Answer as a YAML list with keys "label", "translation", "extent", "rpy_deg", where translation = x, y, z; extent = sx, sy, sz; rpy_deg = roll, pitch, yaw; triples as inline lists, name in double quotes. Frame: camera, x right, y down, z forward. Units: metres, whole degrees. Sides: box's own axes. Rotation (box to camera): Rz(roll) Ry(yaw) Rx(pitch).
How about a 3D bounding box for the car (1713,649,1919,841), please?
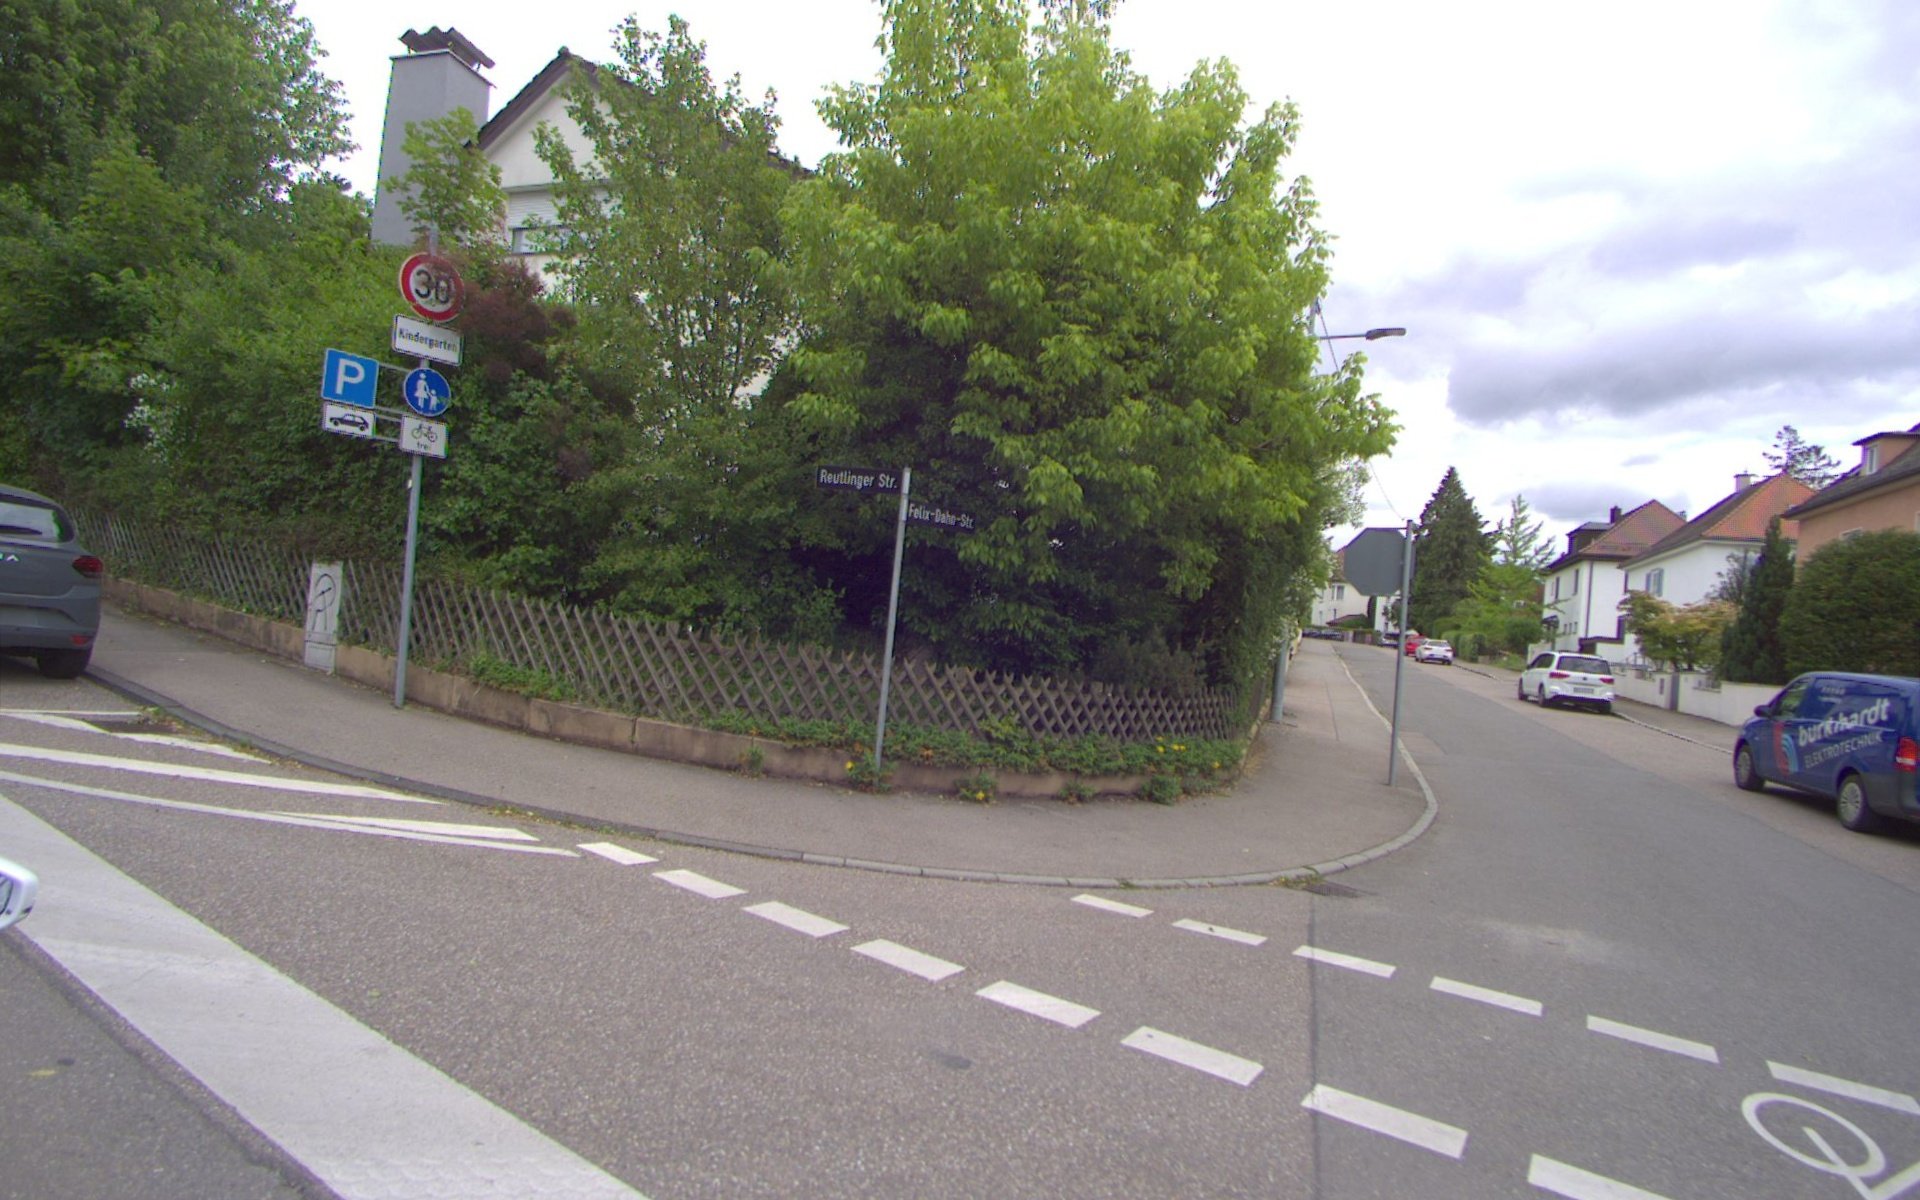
- label: "car"
  translation: [12.023, 1.773, 13.097]
  extent: [1.851, 1.982, 4.733]
  rpy_deg: [5, 0, 16]

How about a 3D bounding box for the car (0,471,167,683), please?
- label: "car"
  translation: [-8.867, -0.417, 8.450]
  extent: [4.381, 1.510, 1.940]
  rpy_deg: [8, 1, 31]

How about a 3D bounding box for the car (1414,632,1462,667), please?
- label: "car"
  translation: [28.438, 2.989, 59.953]
  extent: [1.963, 1.644, 4.005]
  rpy_deg: [9, -2, 19]

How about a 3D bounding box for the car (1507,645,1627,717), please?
- label: "car"
  translation: [17.907, 2.330, 29.884]
  extent: [1.851, 1.660, 4.137]
  rpy_deg: [8, 1, 16]

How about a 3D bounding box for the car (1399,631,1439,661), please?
- label: "car"
  translation: [32.658, 3.292, 71.688]
  extent: [1.963, 1.644, 4.005]
  rpy_deg: [9, -2, 19]
